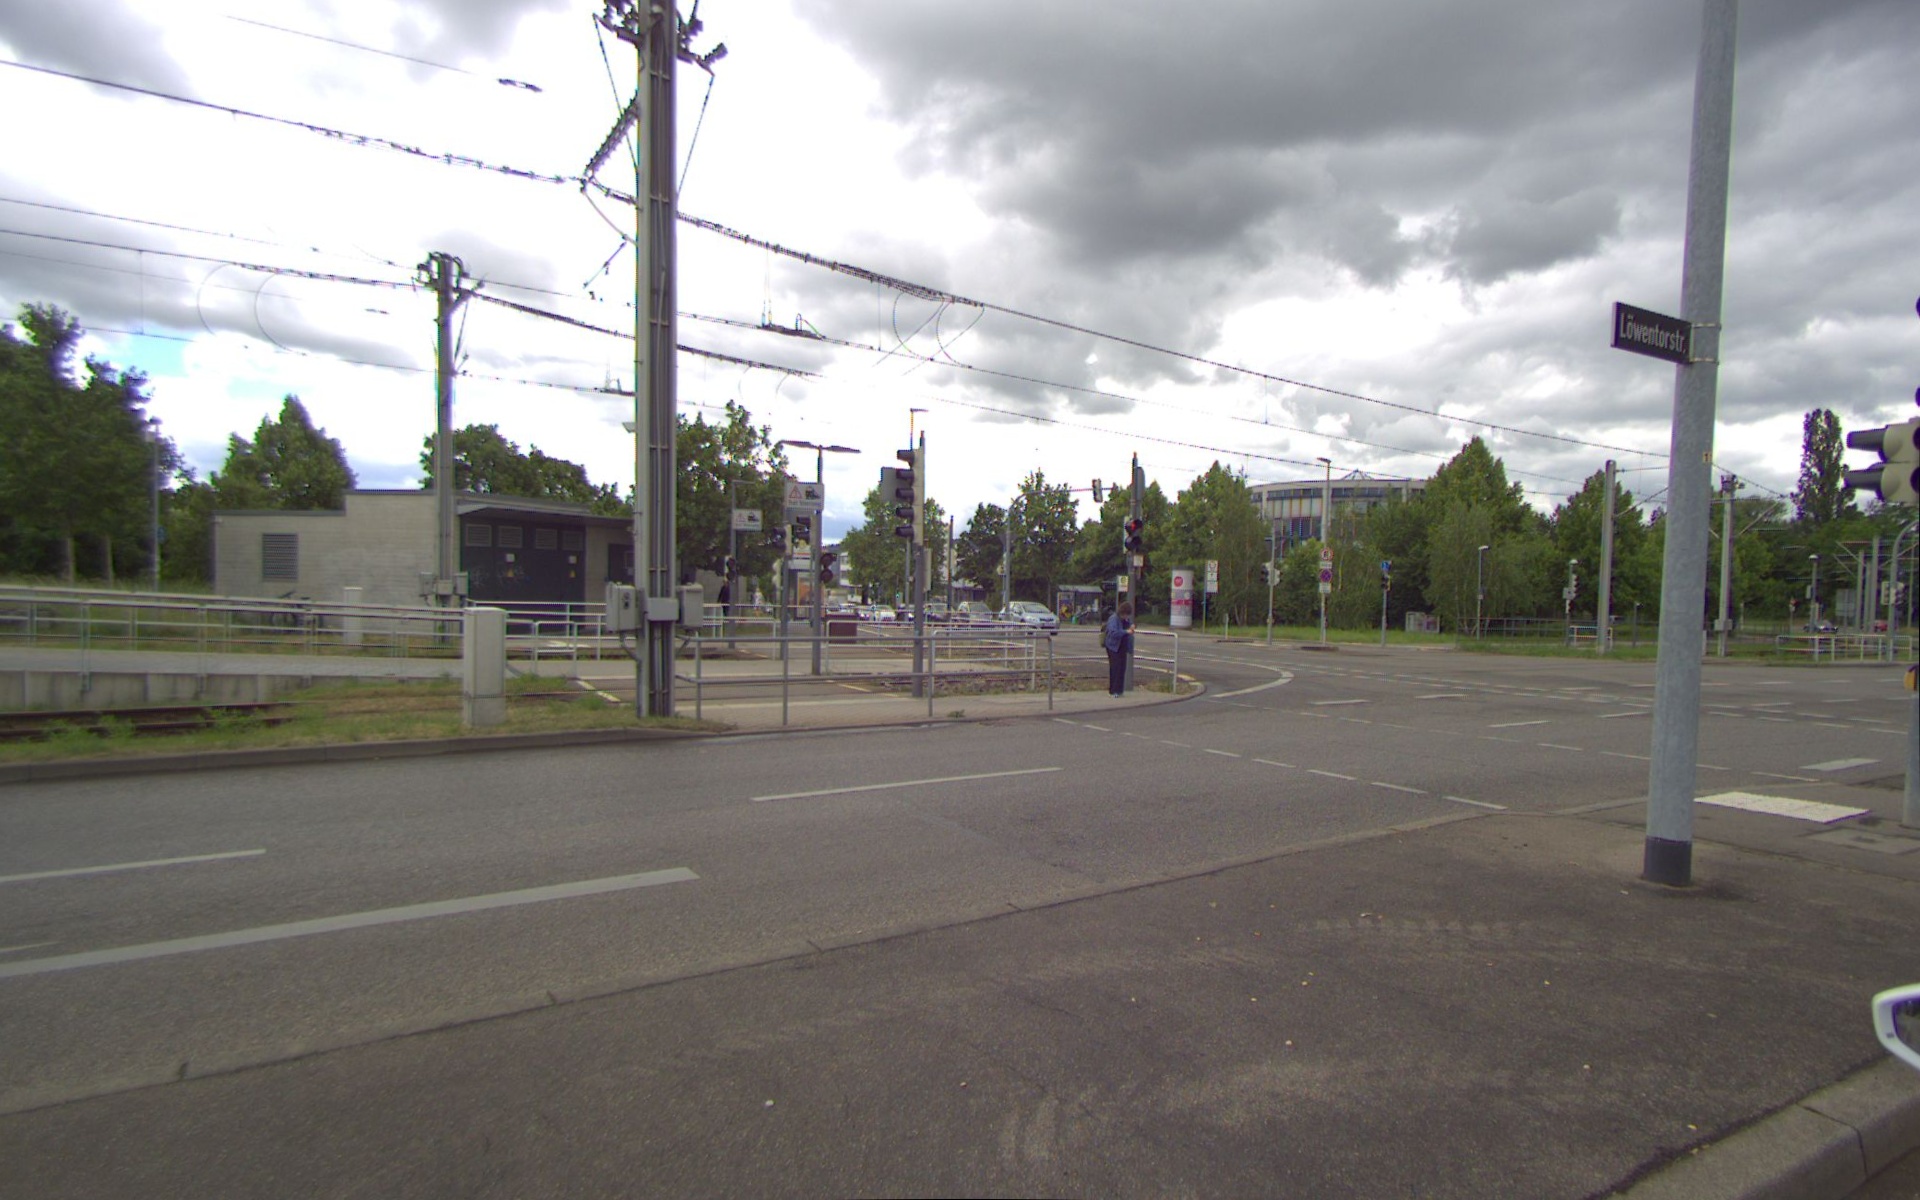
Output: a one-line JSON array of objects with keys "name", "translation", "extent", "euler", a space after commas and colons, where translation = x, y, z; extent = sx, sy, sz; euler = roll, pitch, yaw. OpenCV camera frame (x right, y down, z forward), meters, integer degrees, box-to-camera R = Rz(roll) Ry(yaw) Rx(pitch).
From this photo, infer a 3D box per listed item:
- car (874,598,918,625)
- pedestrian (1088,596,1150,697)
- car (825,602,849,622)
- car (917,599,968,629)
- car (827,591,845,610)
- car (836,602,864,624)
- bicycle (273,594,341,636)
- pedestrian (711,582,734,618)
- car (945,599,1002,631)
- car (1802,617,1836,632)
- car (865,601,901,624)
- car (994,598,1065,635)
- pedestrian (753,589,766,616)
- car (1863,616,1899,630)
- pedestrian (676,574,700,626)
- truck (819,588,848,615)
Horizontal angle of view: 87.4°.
[{"name": "car", "translation": [-4.149, 0.695, 64.583], "extent": [1.776, 1.617, 3.982], "euler": [2, 0, -20]}, {"name": "pedestrian", "translation": [2.540, 0.729, 16.063], "extent": [0.712, 1.557, 0.630], "euler": [2, 0, -33]}, {"name": "car", "translation": [-11.556, 1.106, 94.122], "extent": [1.869, 1.805, 3.990], "euler": [1, 0, -13]}, {"name": "car", "translation": [-1.064, 0.759, 58.046], "extent": [1.776, 1.617, 3.982], "euler": [2, 0, -20]}, {"name": "car", "translation": [-14.609, 0.045, 118.115], "extent": [1.964, 2.218, 5.800], "euler": [1, 0, -9]}, {"name": "car", "translation": [-9.496, 1.136, 86.771], "extent": [1.869, 1.805, 3.988], "euler": [1, 0, -14]}, {"name": "bicycle", "translation": [-17.368, 0.391, 26.712], "extent": [1.778, 1.045, 0.536], "euler": [2, 0, 21]}, {"name": "pedestrian", "translation": [-9.194, 0.002, 38.838], "extent": [0.590, 1.377, 0.616], "euler": [2, 0, 18]}, {"name": "car", "translation": [0.667, 0.792, 53.873], "extent": [1.776, 1.617, 3.982], "euler": [2, 0, -20]}, {"name": "car", "translation": [100.664, 2.872, 117.752], "extent": [1.765, 1.608, 3.999], "euler": [2, 0, 21]}, {"name": "car", "translation": [-5.764, 0.923, 74.907], "extent": [1.775, 1.617, 3.985], "euler": [2, 0, -17]}, {"name": "car", "translation": [3.197, 0.731, 46.906], "extent": [1.848, 1.617, 3.982], "euler": [2, 0, -20]}, {"name": "pedestrian", "translation": [-11.456, 0.140, 57.405], "extent": [0.633, 1.557, 0.521], "euler": [2, 0, -2]}, {"name": "car", "translation": [115.306, 2.894, 125.802], "extent": [1.754, 1.625, 3.888], "euler": [2, 0, 18]}, {"name": "pedestrian", "translation": [-9.463, 0.006, 34.962], "extent": [0.700, 1.751, 0.674], "euler": [2, 0, -19]}, {"name": "truck", "translation": [-18.002, 0.195, 142.308], "extent": [2.965, 3.580, 9.258], "euler": [1, 0, -14]}]
